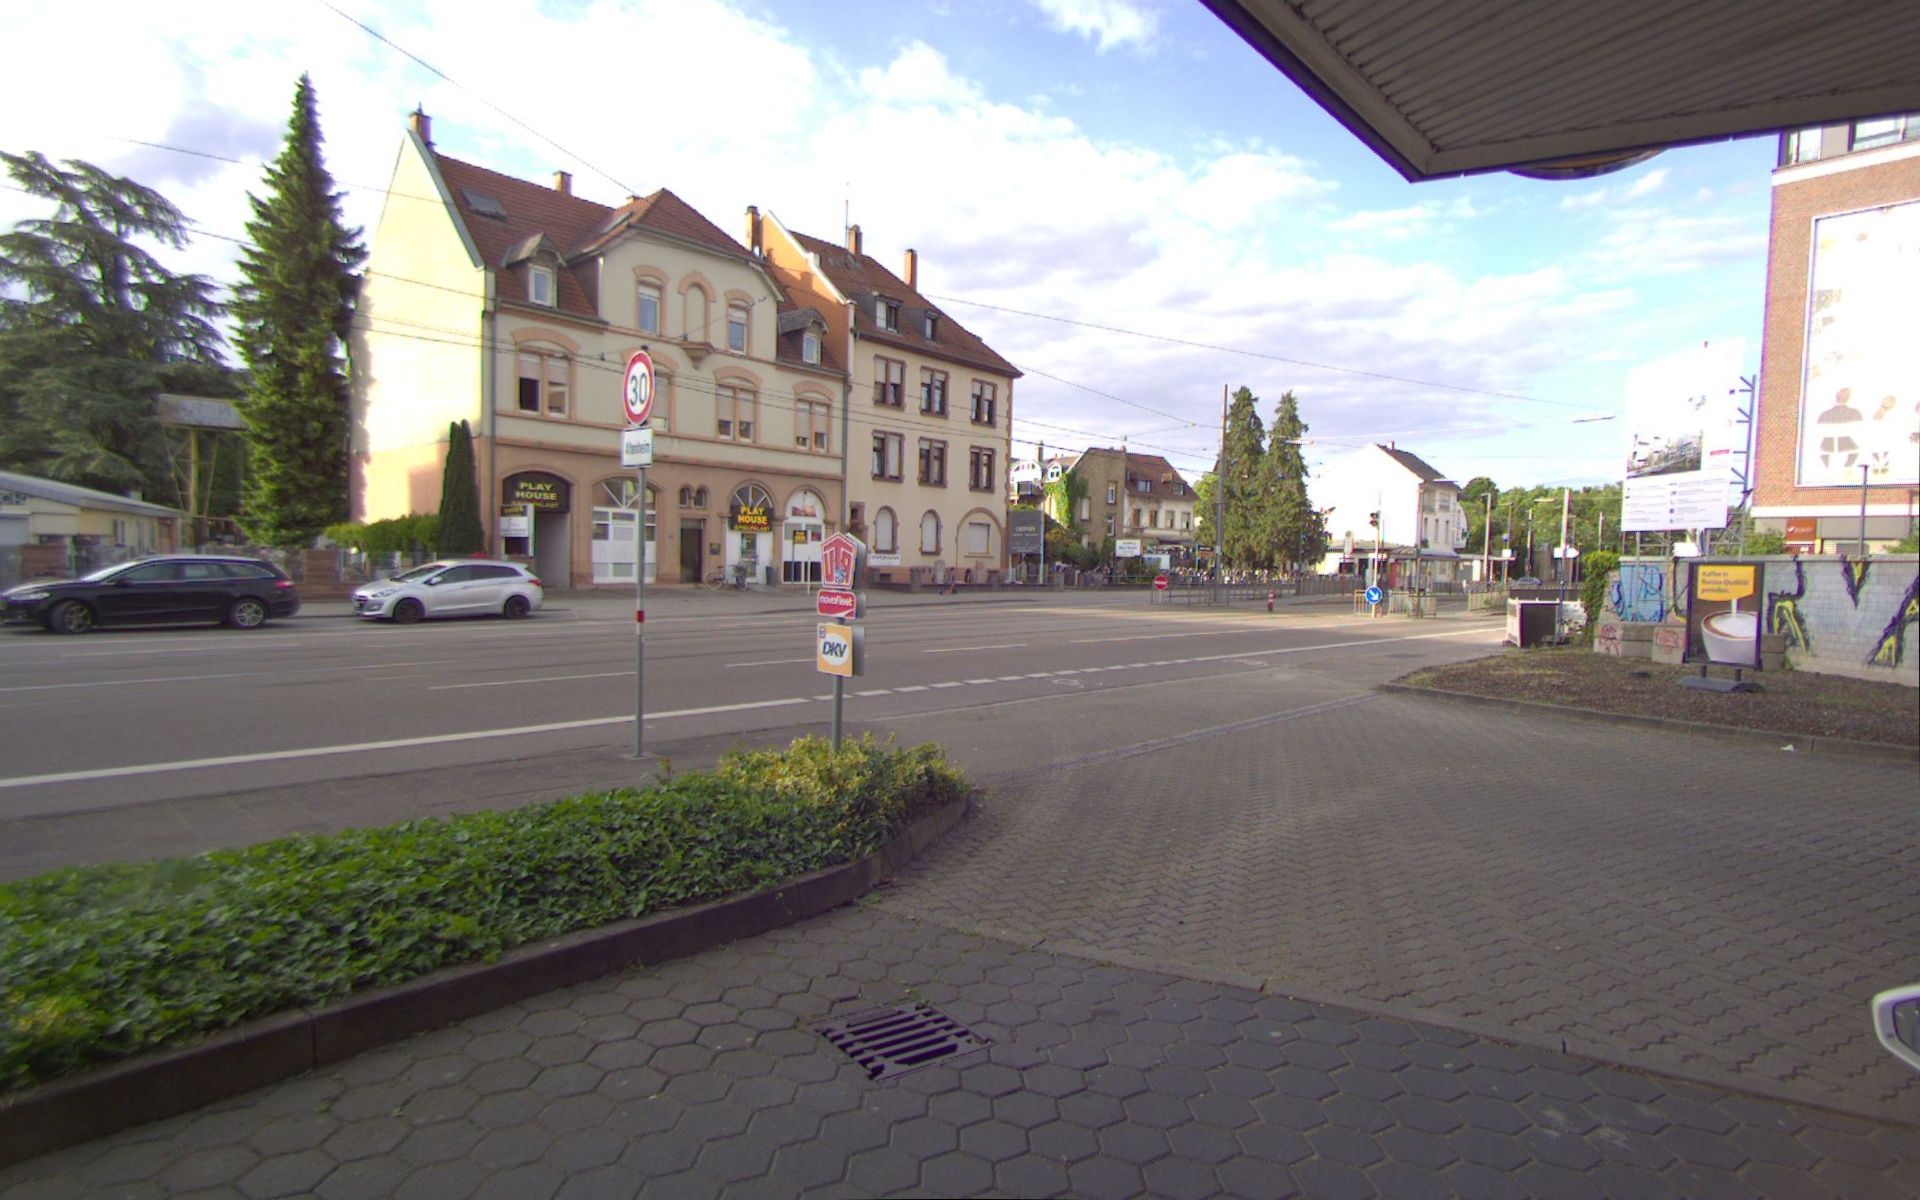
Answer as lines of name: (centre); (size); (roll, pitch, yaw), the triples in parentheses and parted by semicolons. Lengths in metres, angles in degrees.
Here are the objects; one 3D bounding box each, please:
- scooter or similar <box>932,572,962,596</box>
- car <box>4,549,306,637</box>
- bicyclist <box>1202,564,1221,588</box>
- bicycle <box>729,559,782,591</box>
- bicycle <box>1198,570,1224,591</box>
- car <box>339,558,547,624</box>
scooter or similar: (-0.575, -0.713, 45.083); (0.437, 1.006, 1.460); (6, 5, 41)
car: (-16.496, -0.173, 20.807); (1.827, 1.542, 4.642); (5, 4, 40)
bicyclist: (15.744, -1.487, 62.950); (0.741, 1.428, 0.916); (8, 6, 41)
bicycle: (-8.256, -1.000, 40.617); (0.741, 1.219, 2.011); (8, 5, 41)
bicycle: (15.714, -1.216, 62.938); (0.741, 1.219, 1.812); (8, 6, 40)
car: (-12.938, -0.249, 25.346); (1.718, 1.502, 4.357); (3, 2, 41)
